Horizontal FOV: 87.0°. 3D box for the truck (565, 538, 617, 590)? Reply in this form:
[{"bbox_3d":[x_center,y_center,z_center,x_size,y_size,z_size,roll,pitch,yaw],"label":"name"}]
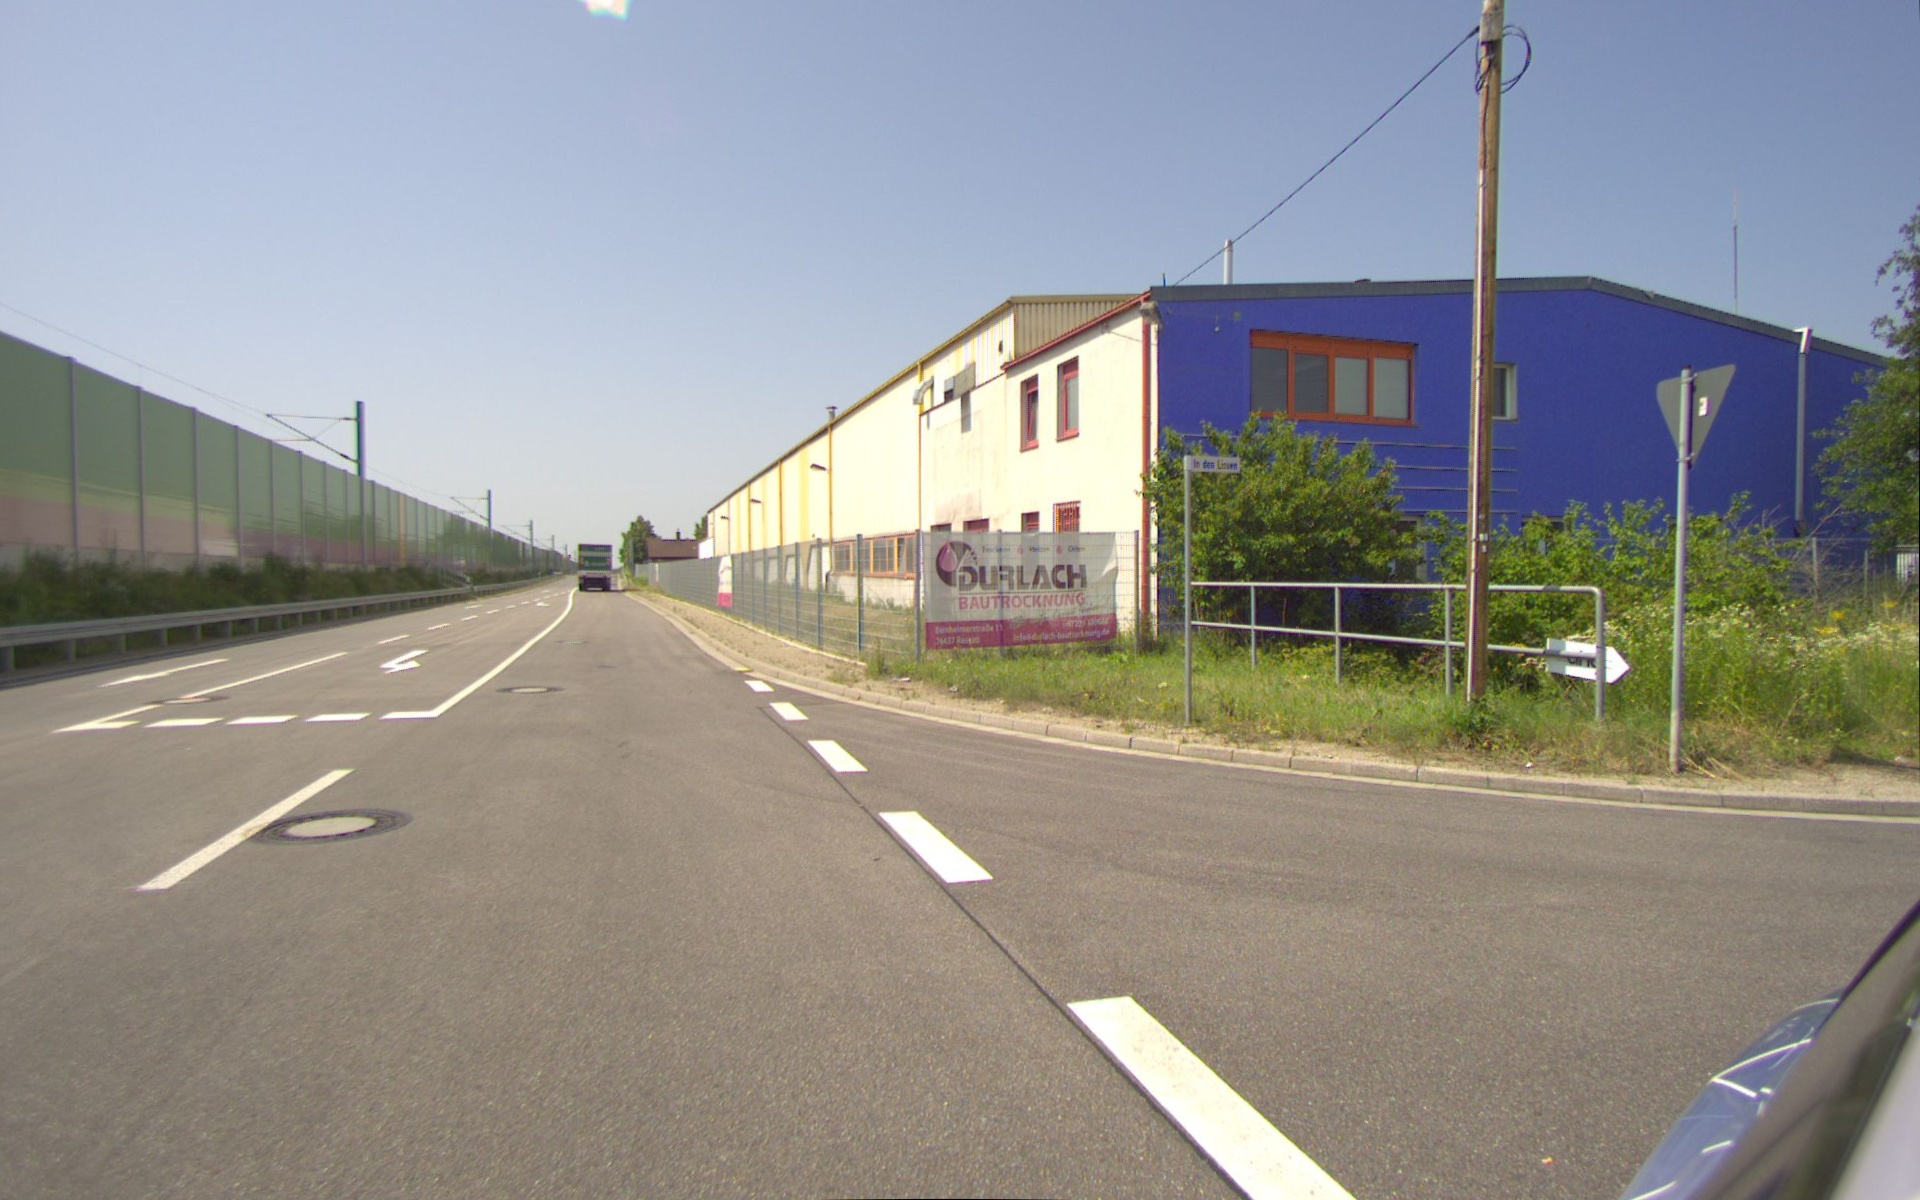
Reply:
[{"bbox_3d":[-30.092,-2.822,82.990,3.491,3.927,11.439,0,1,-18],"label":"truck"}]

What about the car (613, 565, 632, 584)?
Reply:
[{"bbox_3d":[-38.466,-2.869,115.366,1.958,2.039,4.008,0,1,-18],"label":"car"}]

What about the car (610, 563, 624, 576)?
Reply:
[{"bbox_3d":[-55.109,-4.864,162.696,1.958,2.039,4.008,0,1,-18],"label":"car"}]
